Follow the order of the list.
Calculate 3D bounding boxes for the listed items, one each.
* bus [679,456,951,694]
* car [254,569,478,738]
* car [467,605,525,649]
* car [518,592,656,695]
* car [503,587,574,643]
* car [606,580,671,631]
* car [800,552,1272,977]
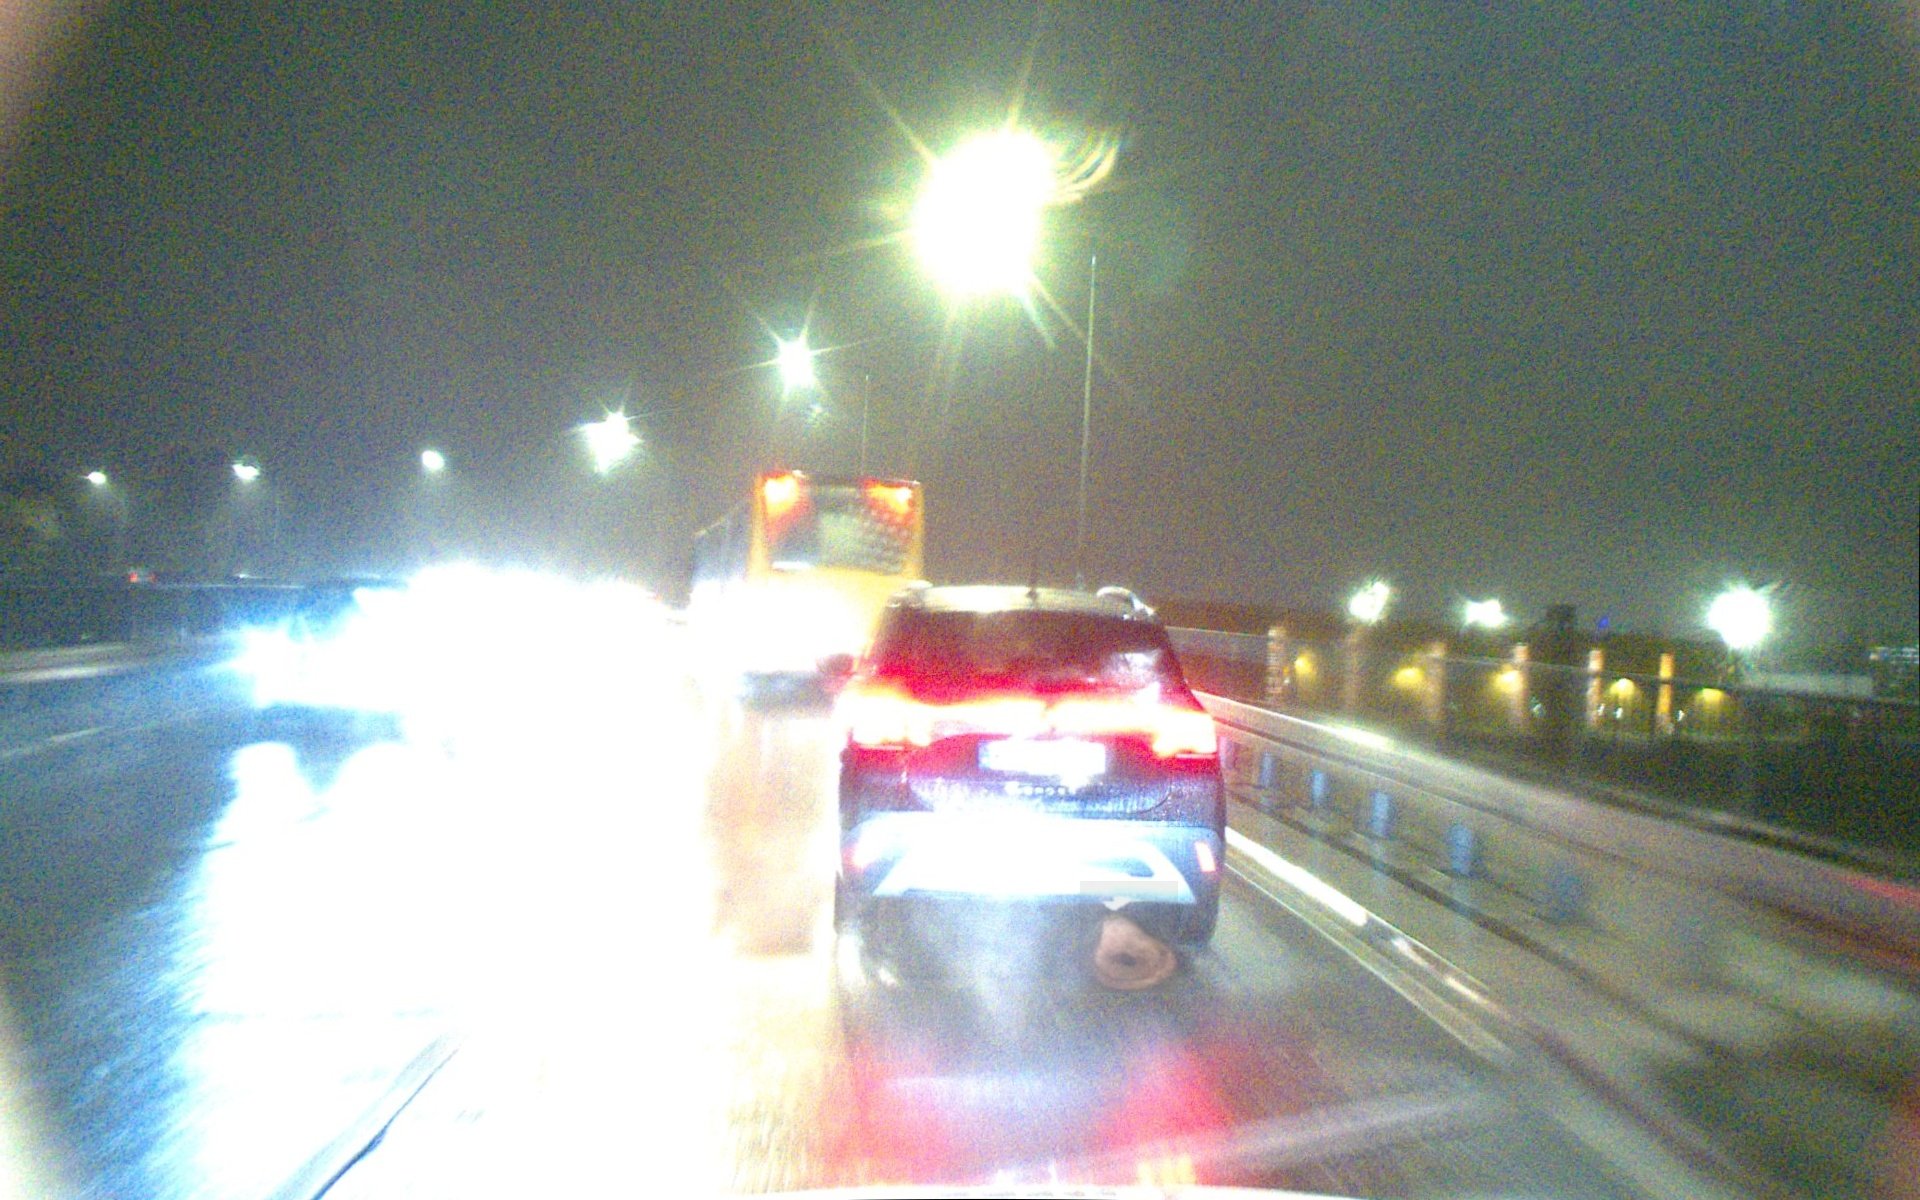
[{"bbox_3d":[-2.997,-0.415,28.725,3.030,3.187,12.656,1,1,-13],"label":"bus"},{"bbox_3d":[-6.200,0.492,17.580,1.442,1.612,3.188,1,1,-5],"label":"car"},{"bbox_3d":[-16.583,0.946,59.266,1.783,1.428,4.035,0,1,-13],"label":"car"},{"bbox_3d":[-5.731,0.627,25.843,1.861,1.464,4.054,1,0,-10],"label":"car"},{"bbox_3d":[-11.513,0.394,45.385,1.653,1.415,4.437,2,0,-12],"label":"car"},{"bbox_3d":[-11.364,0.197,58.366,1.613,1.684,3.686,-2,0,-21],"label":"car"},{"bbox_3d":[0.135,0.666,8.510,1.820,1.614,3.995,2,0,-5],"label":"car"}]
